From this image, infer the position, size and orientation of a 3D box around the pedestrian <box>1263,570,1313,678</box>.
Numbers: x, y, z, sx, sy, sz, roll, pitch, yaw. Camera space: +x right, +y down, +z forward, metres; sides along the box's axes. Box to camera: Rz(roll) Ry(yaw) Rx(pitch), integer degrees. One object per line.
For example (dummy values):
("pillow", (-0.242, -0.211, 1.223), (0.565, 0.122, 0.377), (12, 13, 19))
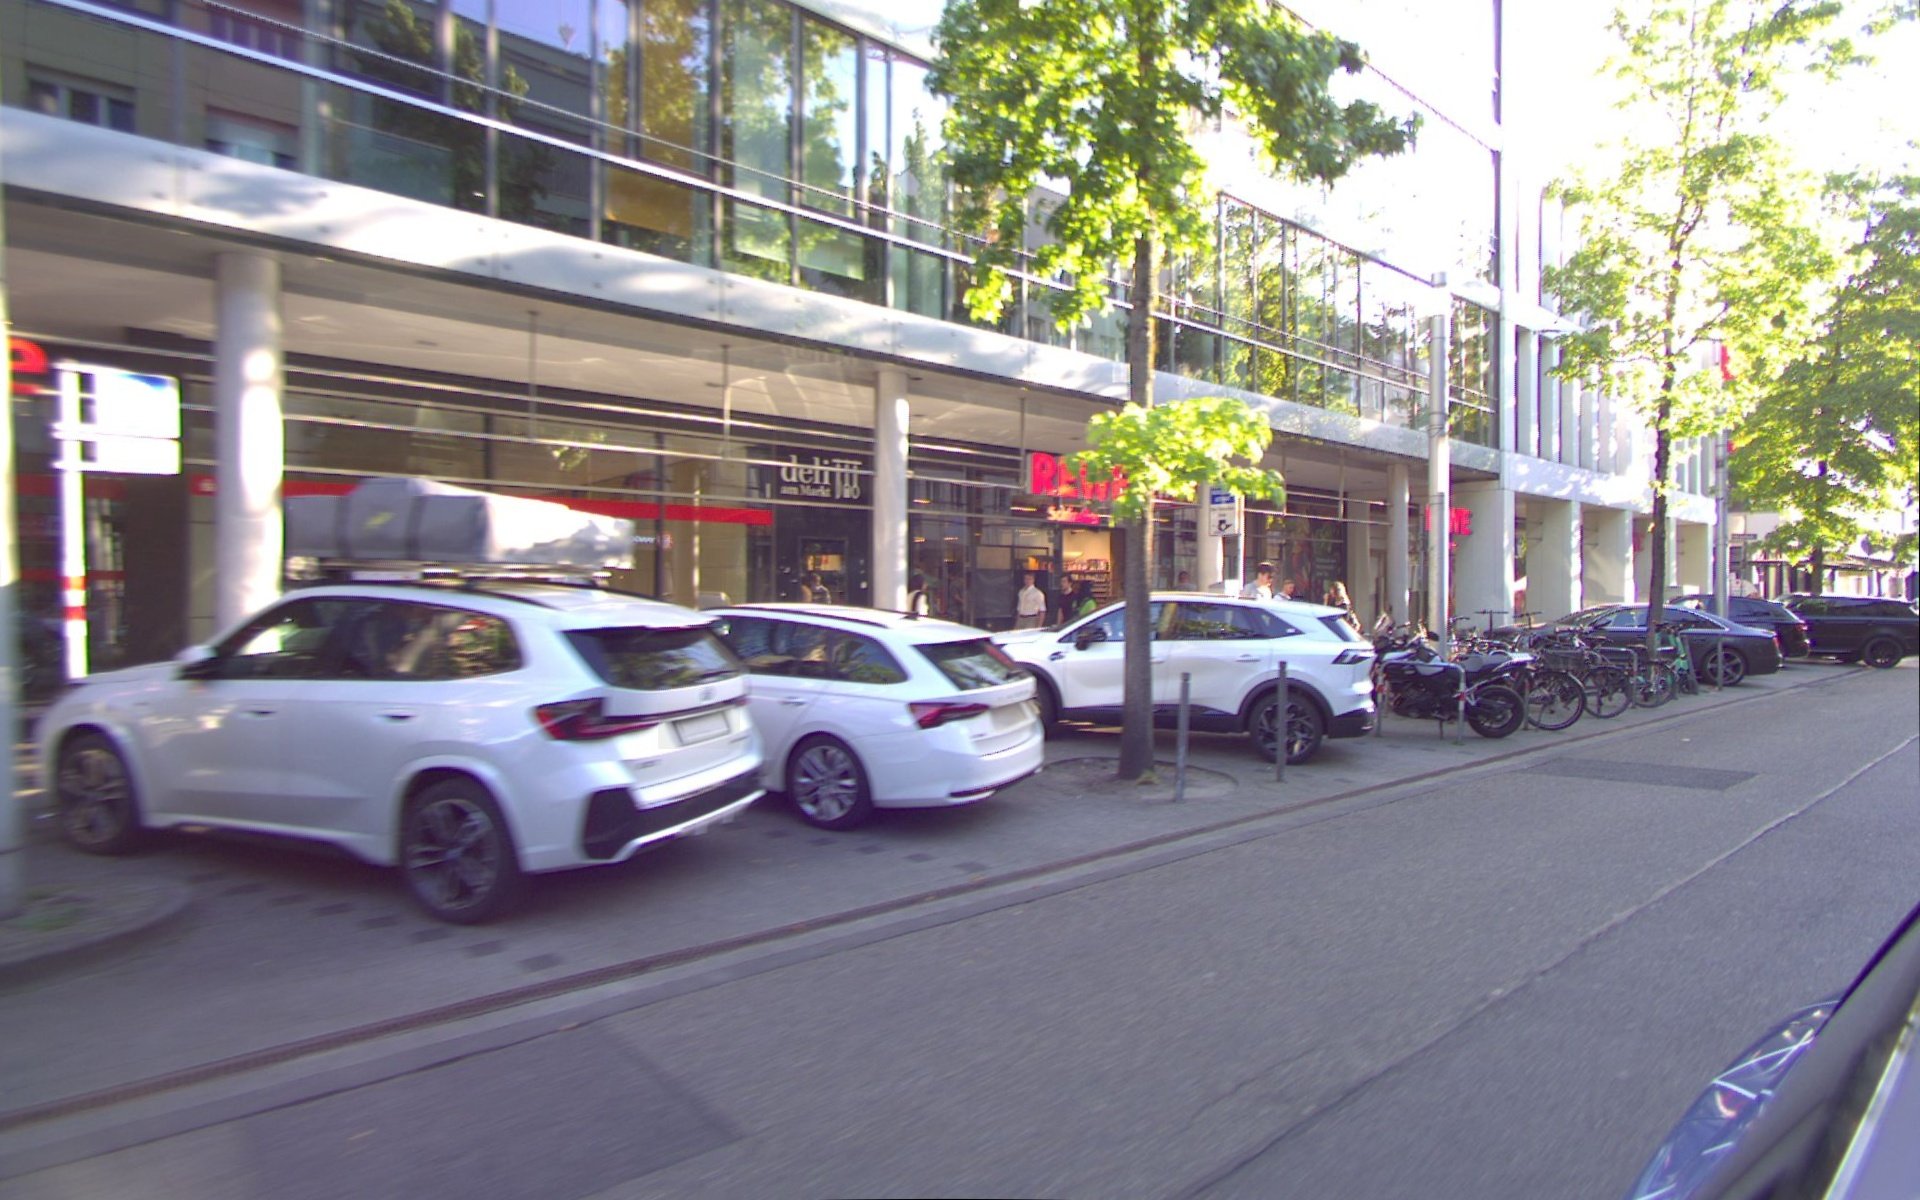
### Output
("pedestrian", (5.507, 0.388, 17.001), (0.548, 1.772, 0.524), (0, 2, -38))

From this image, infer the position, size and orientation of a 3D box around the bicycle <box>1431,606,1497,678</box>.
("bicycle", (9.104, 0.725, 18.350), (0.617, 1.144, 1.881), (2, 2, 13))

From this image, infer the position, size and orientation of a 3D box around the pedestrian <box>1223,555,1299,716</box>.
("pedestrian", (3.772, 0.418, 12.692), (0.651, 1.942, 0.585), (0, 2, -38))

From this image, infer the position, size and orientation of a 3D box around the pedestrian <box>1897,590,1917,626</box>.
("pedestrian", (49.732, 0.397, 53.136), (0.623, 1.854, 0.689), (0, 0, -40))

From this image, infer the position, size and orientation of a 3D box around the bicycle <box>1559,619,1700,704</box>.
("bicycle", (10.025, 0.896, 15.219), (1.544, 1.102, 0.863), (3, 1, 21))

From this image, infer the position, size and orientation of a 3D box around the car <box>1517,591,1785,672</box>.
("car", (14.873, 0.612, 22.166), (4.628, 1.443, 1.914), (3, 2, 30))

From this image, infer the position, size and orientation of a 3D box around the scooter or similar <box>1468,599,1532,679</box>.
("scooter or similar", (9.764, 0.672, 18.351), (0.554, 1.309, 1.674), (2, 2, 13))

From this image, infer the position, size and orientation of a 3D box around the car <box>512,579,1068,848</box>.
("car", (-1.392, 0.664, 7.918), (4.120, 1.517, 1.673), (3, 2, 27))

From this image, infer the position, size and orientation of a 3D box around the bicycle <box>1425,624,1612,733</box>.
("bicycle", (6.770, 0.924, 12.380), (1.874, 1.133, 0.663), (2, 3, 22))

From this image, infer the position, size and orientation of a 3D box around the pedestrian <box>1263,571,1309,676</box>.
("pedestrian", (5.477, 0.384, 16.999), (0.540, 1.718, 0.518), (0, 0, -35))

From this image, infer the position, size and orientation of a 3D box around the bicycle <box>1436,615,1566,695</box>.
("bicycle", (8.423, 0.837, 15.843), (1.654, 1.088, 0.728), (3, 1, 21))

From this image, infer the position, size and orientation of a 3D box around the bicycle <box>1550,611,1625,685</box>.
("bicycle", (11.035, 0.812, 17.860), (0.544, 1.121, 1.842), (2, 2, 14))

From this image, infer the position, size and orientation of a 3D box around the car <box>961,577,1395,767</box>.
("car", (2.254, 0.625, 10.734), (4.105, 1.590, 1.844), (2, 2, 18))

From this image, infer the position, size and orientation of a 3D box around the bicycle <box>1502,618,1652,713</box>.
("bicycle", (8.368, 0.884, 13.757), (1.662, 1.177, 0.481), (2, 2, 0))

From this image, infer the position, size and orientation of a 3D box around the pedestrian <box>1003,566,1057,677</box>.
("pedestrian", (1.145, 0.337, 16.645), (0.589, 1.765, 0.625), (0, 1, -43))

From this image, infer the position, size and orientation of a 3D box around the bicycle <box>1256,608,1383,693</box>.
("bicycle", (5.530, 0.750, 15.589), (1.760, 1.119, 0.627), (3, 3, 26))

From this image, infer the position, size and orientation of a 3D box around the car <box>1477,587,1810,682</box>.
("car", (13.251, 0.603, 20.027), (4.989, 1.487, 1.969), (3, 2, 15))

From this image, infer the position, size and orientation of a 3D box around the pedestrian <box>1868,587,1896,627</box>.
("pedestrian", (44.312, 0.332, 48.637), (0.901, 1.921, 0.836), (0, 1, -37))

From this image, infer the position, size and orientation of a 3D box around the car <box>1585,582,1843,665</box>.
("car", (17.914, 0.499, 24.394), (4.622, 1.675, 1.990), (3, 2, 27))

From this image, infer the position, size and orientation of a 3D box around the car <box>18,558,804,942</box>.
("car", (-3.259, 0.617, 6.112), (4.196, 1.607, 1.873), (2, 2, 20))

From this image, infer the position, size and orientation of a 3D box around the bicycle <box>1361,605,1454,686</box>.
("bicycle", (7.252, 0.716, 16.469), (1.254, 1.187, 0.862), (3, 1, 20))

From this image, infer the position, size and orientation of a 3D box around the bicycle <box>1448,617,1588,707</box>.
("bicycle", (8.021, 0.871, 14.628), (1.677, 1.119, 0.627), (3, 3, 25))

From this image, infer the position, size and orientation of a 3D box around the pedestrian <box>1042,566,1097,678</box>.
("pedestrian", (1.761, 0.334, 16.331), (0.624, 1.765, 0.590), (2, 1, 45))

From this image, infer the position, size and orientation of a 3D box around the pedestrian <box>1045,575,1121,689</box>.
("pedestrian", (1.854, 0.452, 15.222), (0.866, 1.644, 0.716), (0, 1, -38))

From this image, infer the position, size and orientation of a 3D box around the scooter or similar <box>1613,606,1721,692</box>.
("scooter or similar", (11.804, 0.800, 16.944), (1.290, 1.291, 0.561), (3, 3, 19))

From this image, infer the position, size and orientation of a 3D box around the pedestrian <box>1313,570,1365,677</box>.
("pedestrian", (6.240, 0.380, 16.651), (0.677, 1.718, 0.542), (0, 0, 38))

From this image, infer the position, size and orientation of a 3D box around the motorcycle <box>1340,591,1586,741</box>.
("motorcycle", (5.638, 0.713, 11.499), (2.279, 1.528, 0.858), (2, 2, 7))

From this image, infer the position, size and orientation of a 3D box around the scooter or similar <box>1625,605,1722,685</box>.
("scooter or similar", (12.360, 0.774, 17.537), (1.281, 1.291, 0.459), (2, 3, -2))

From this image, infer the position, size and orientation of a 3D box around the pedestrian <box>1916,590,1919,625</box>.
("pedestrian", (50.190, 0.391, 52.593), (0.623, 1.854, 0.706), (0, 0, -40))

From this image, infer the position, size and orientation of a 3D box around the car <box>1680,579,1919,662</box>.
("car", (21.400, 0.456, 25.720), (4.612, 1.785, 1.981), (3, 2, 22))

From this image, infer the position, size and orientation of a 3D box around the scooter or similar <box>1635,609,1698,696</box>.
("scooter or similar", (11.261, 0.815, 16.123), (1.284, 1.291, 0.452), (0, 4, -41))

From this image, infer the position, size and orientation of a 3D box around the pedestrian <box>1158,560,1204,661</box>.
("pedestrian", (3.977, 0.184, 18.213), (0.515, 1.772, 0.558), (0, 2, -39))

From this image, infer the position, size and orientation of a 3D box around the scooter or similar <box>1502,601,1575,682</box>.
("scooter or similar", (10.347, 0.704, 18.156), (0.622, 1.309, 1.674), (2, 2, 13))
